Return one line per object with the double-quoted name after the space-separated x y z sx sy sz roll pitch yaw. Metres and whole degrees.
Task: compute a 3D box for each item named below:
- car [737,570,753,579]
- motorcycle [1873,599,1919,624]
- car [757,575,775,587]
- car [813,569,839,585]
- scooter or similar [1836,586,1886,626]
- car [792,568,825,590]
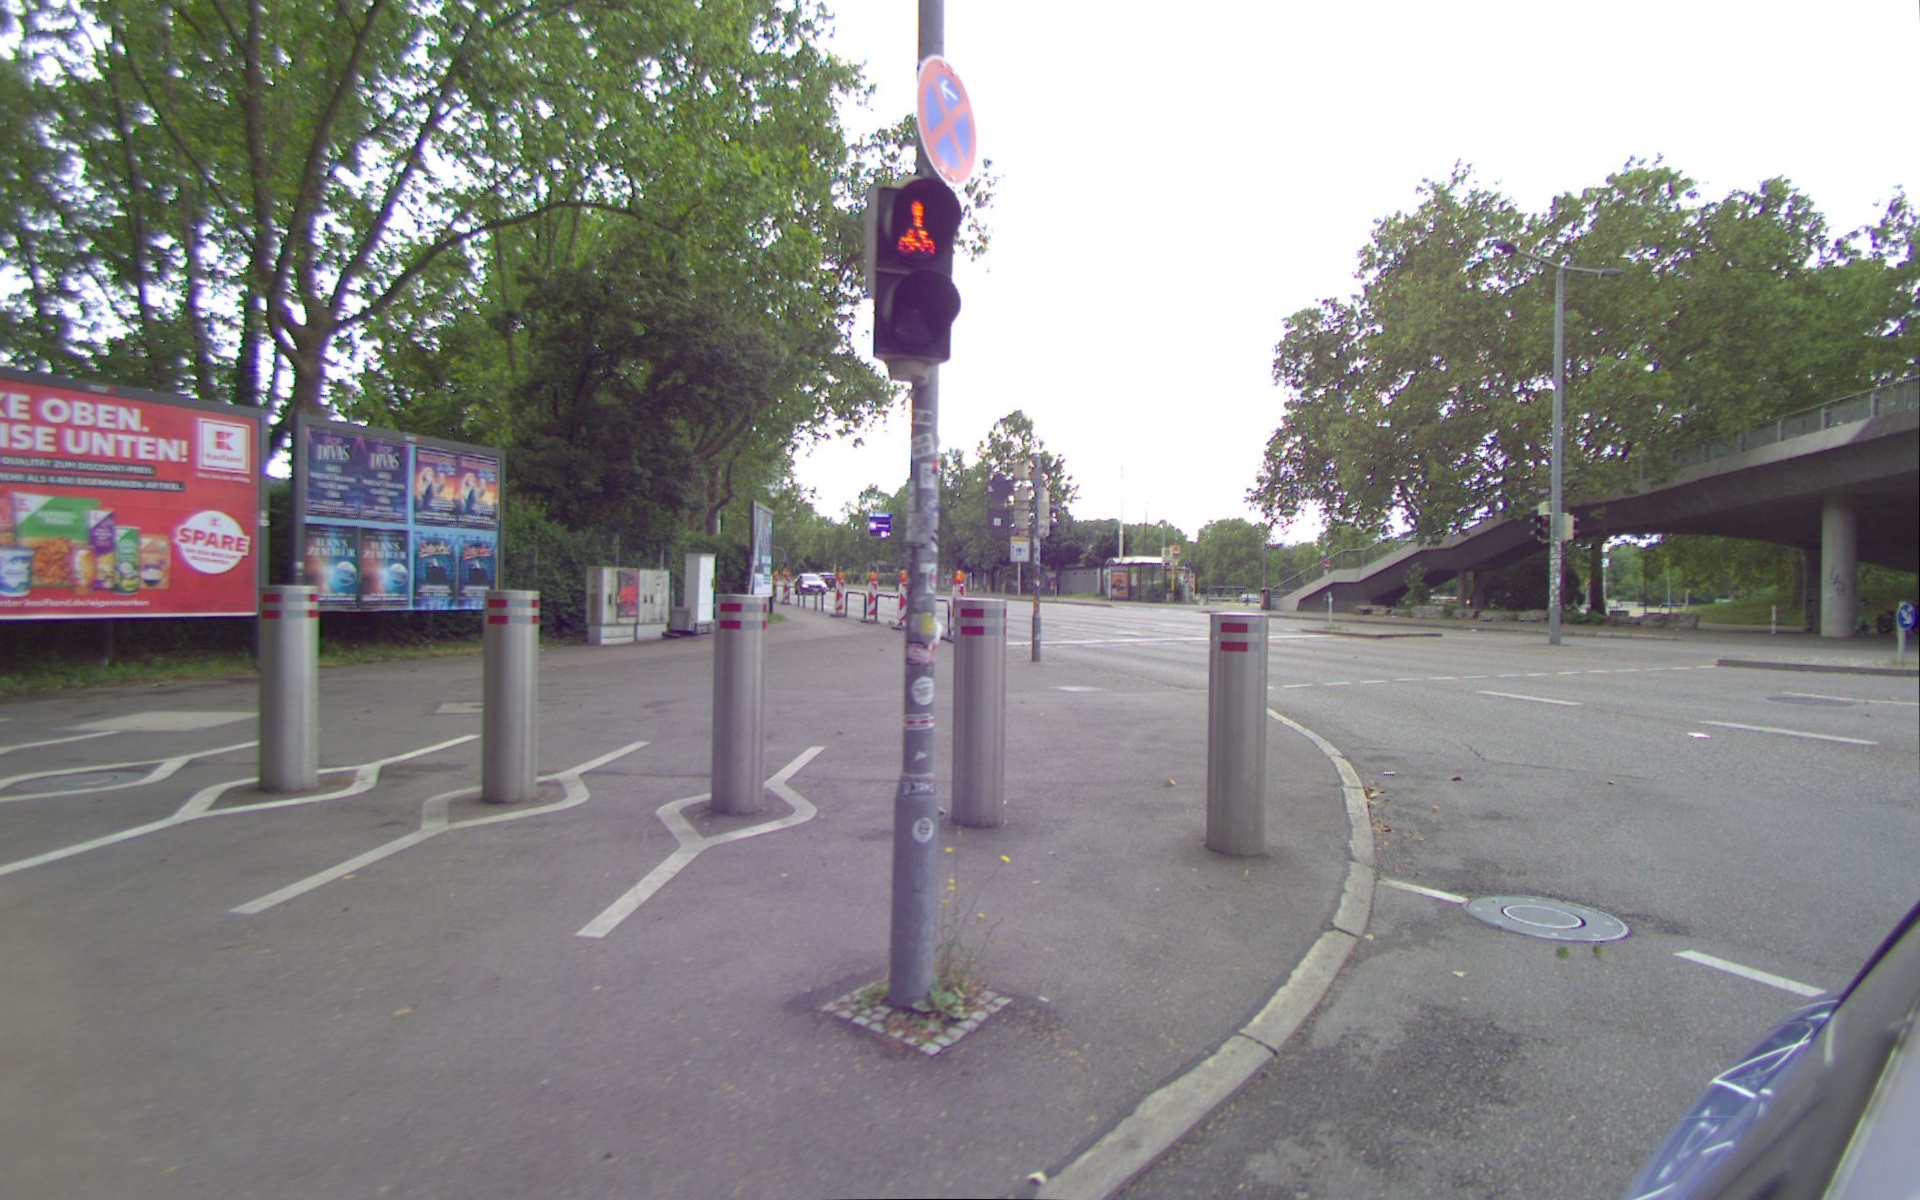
-36.092 -4.233 169.925 1.958 1.544 4.009 0 1 -20 "car"
35.156 0.433 37.622 0.636 0.862 1.741 1 1 -13 "motorcycle"
-28.539 -2.799 148.827 1.958 1.766 4.605 0 1 -20 "car"
-13.595 -2.338 102.483 1.738 1.626 4.438 0 1 -18 "car"
32.434 0.203 36.429 0.408 1.334 1.231 1 3 -19 "scooter or similar"
-11.206 -1.552 74.594 1.762 1.529 4.009 0 1 -18 "car"
